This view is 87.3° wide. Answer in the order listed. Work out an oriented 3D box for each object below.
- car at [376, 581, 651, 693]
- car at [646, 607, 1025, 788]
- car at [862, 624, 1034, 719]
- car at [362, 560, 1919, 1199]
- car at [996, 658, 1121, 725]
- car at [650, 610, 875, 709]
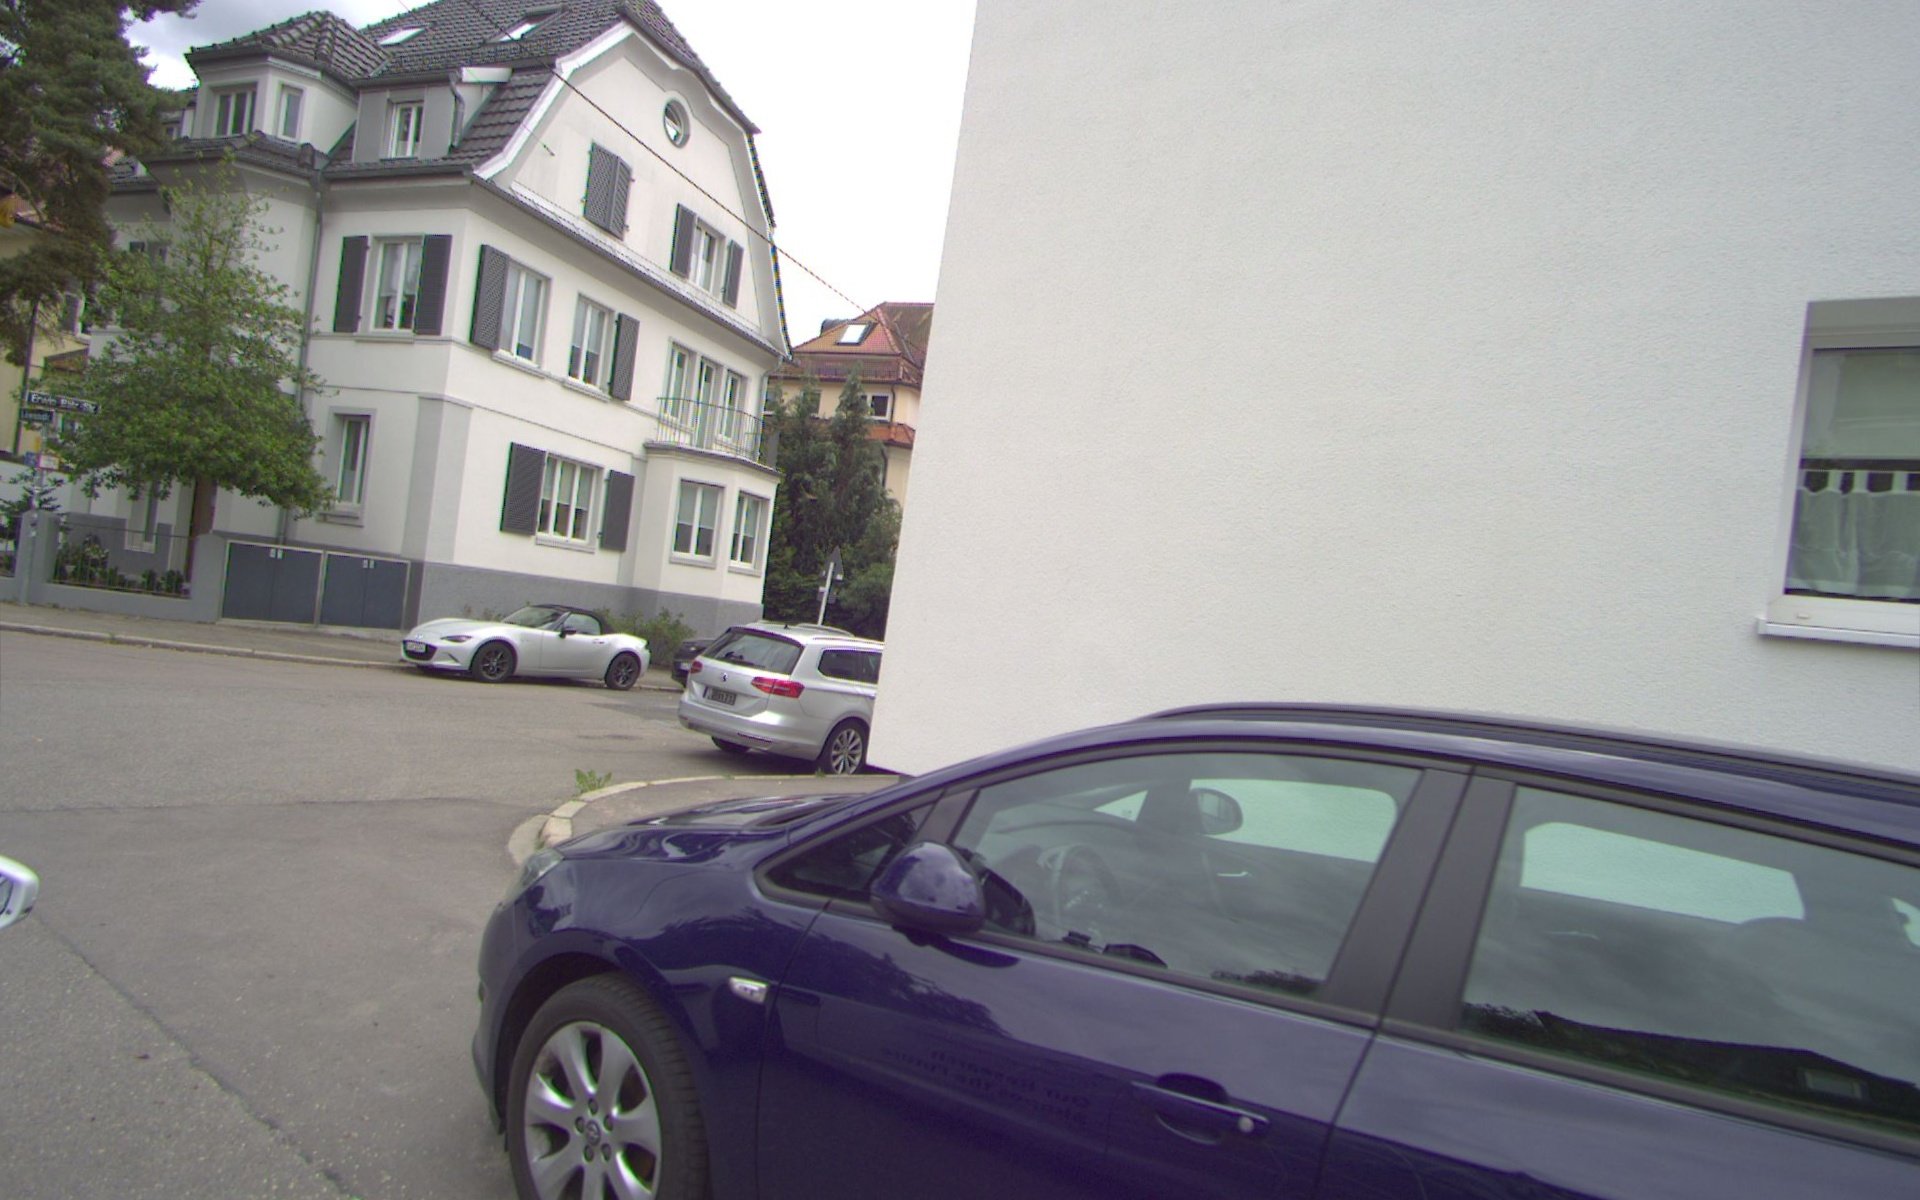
[{"bbox_3d":[-6.763,0.628,15.571,1.644,1.275,3.477,4,-5,32],"label":"car"},{"bbox_3d":[-1.177,1.153,11.492,1.735,1.466,4.353,8,-2,34],"label":"car"},{"bbox_3d":[-0.179,1.813,24.694,1.863,1.912,4.508,3,-5,35],"label":"car"},{"bbox_3d":[0.804,0.934,2.273,4.215,1.503,1.822,7,-1,31],"label":"car"},{"bbox_3d":[2.847,2.610,28.331,1.742,1.529,3.968,3,-5,35],"label":"car"},{"bbox_3d":[-3.723,1.217,19.643,1.646,1.457,4.195,2,-6,37],"label":"car"}]
